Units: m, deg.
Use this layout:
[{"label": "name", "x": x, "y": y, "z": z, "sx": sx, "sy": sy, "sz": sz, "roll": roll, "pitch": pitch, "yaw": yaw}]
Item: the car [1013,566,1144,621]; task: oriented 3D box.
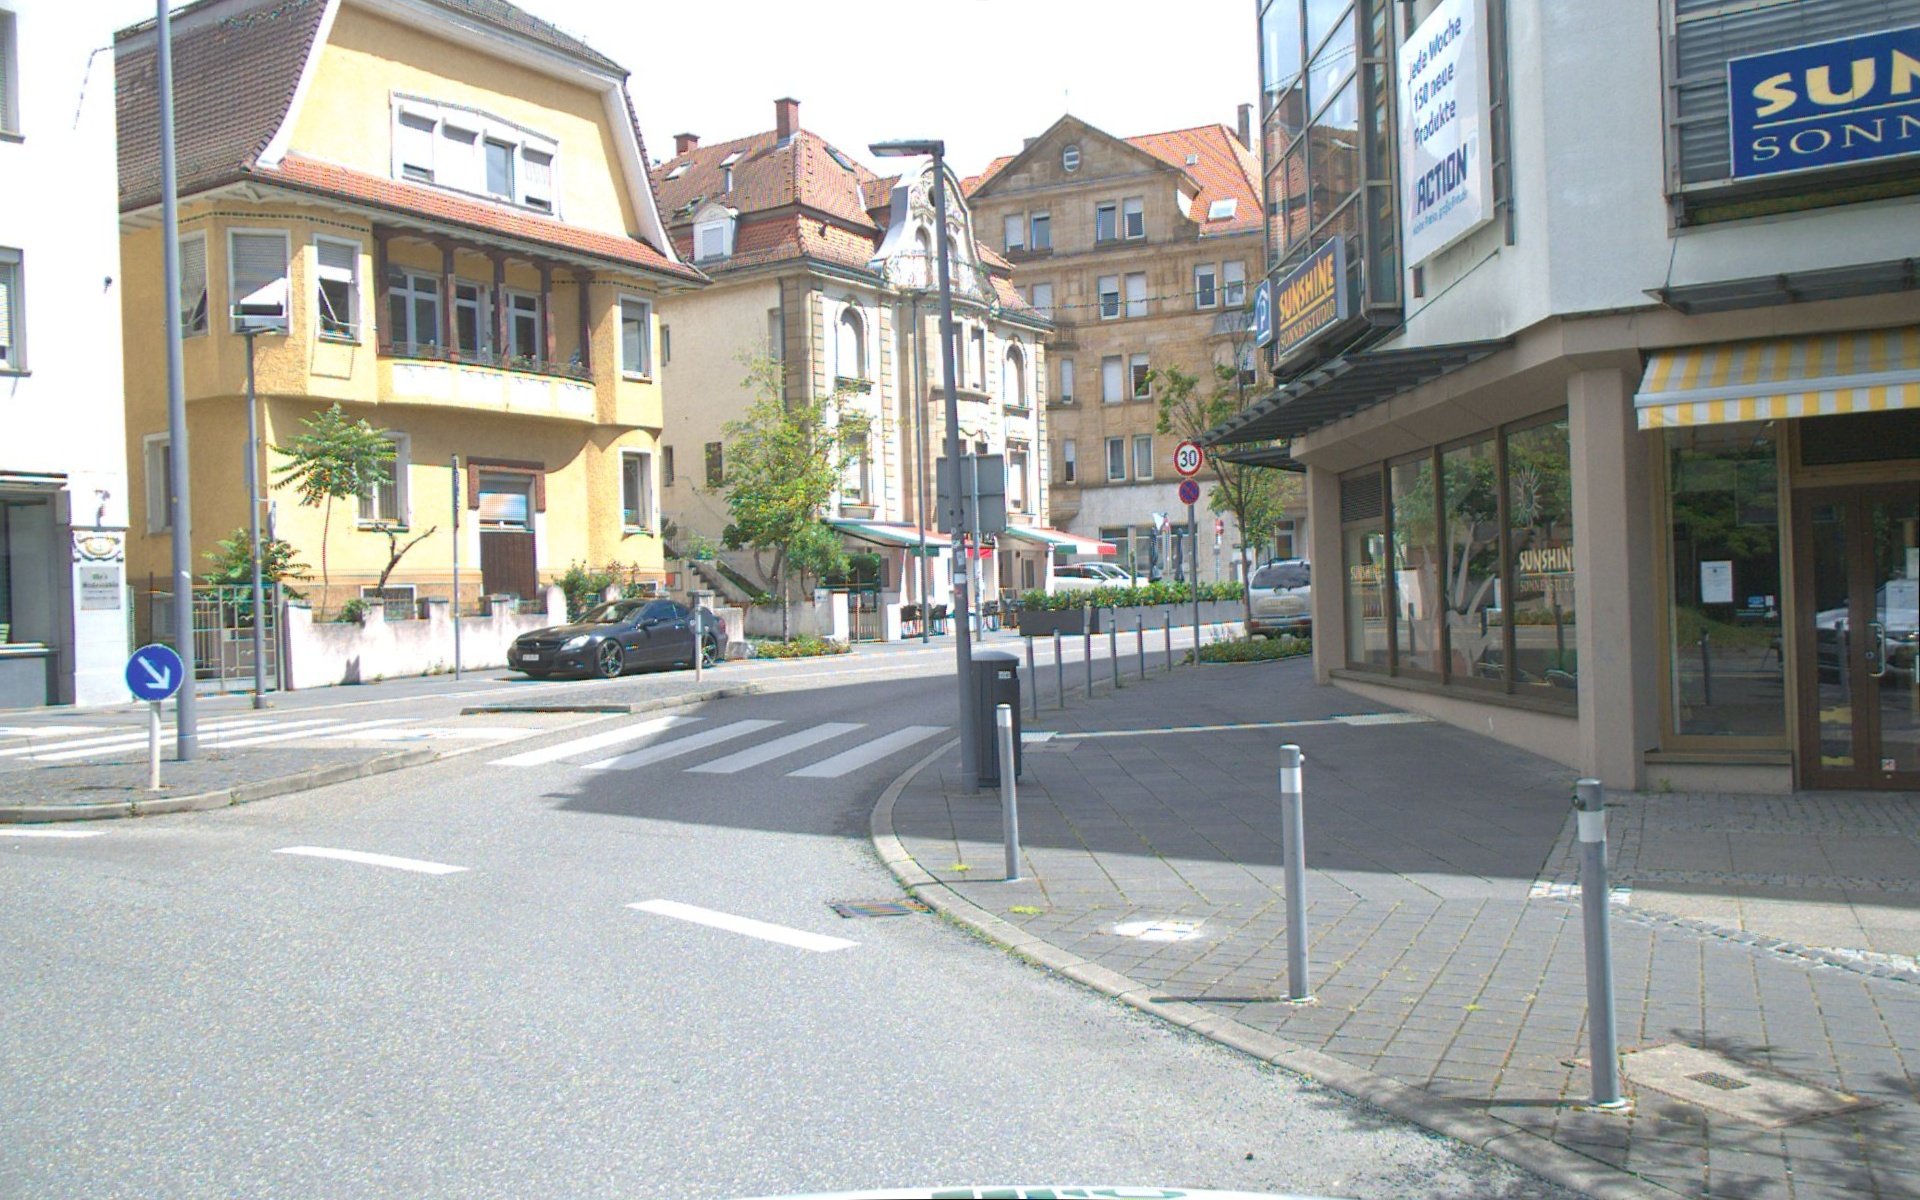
[{"label": "car", "x": 4.290, "y": -0.234, "z": 59.492, "sx": 4.325, "sy": 1.806, "sz": 2.001, "roll": -2, "pitch": 1, "yaw": 17}]

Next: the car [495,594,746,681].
[{"label": "car", "x": -5.868, "y": 0.617, "z": 29.092, "sx": 1.679, "sy": 1.267, "sz": 4.399, "roll": -1, "pitch": 1, "yaw": 33}]

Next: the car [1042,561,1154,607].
[{"label": "car", "x": 5.440, "y": -0.631, "z": 65.216, "sx": 3.910, "sy": 1.691, "sz": 1.907, "roll": -1, "pitch": 1, "yaw": 28}]

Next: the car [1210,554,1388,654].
[{"label": "car", "x": 6.670, "y": 0.045, "z": 32.261, "sx": 1.793, "sy": 1.761, "sz": 4.218, "roll": -3, "pitch": 0, "yaw": 35}]

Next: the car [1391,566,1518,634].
[{"label": "car", "x": 12.618, "y": -0.027, "z": 42.034, "sx": 1.793, "sy": 1.545, "sz": 4.218, "roll": -3, "pitch": 0, "yaw": 35}]
